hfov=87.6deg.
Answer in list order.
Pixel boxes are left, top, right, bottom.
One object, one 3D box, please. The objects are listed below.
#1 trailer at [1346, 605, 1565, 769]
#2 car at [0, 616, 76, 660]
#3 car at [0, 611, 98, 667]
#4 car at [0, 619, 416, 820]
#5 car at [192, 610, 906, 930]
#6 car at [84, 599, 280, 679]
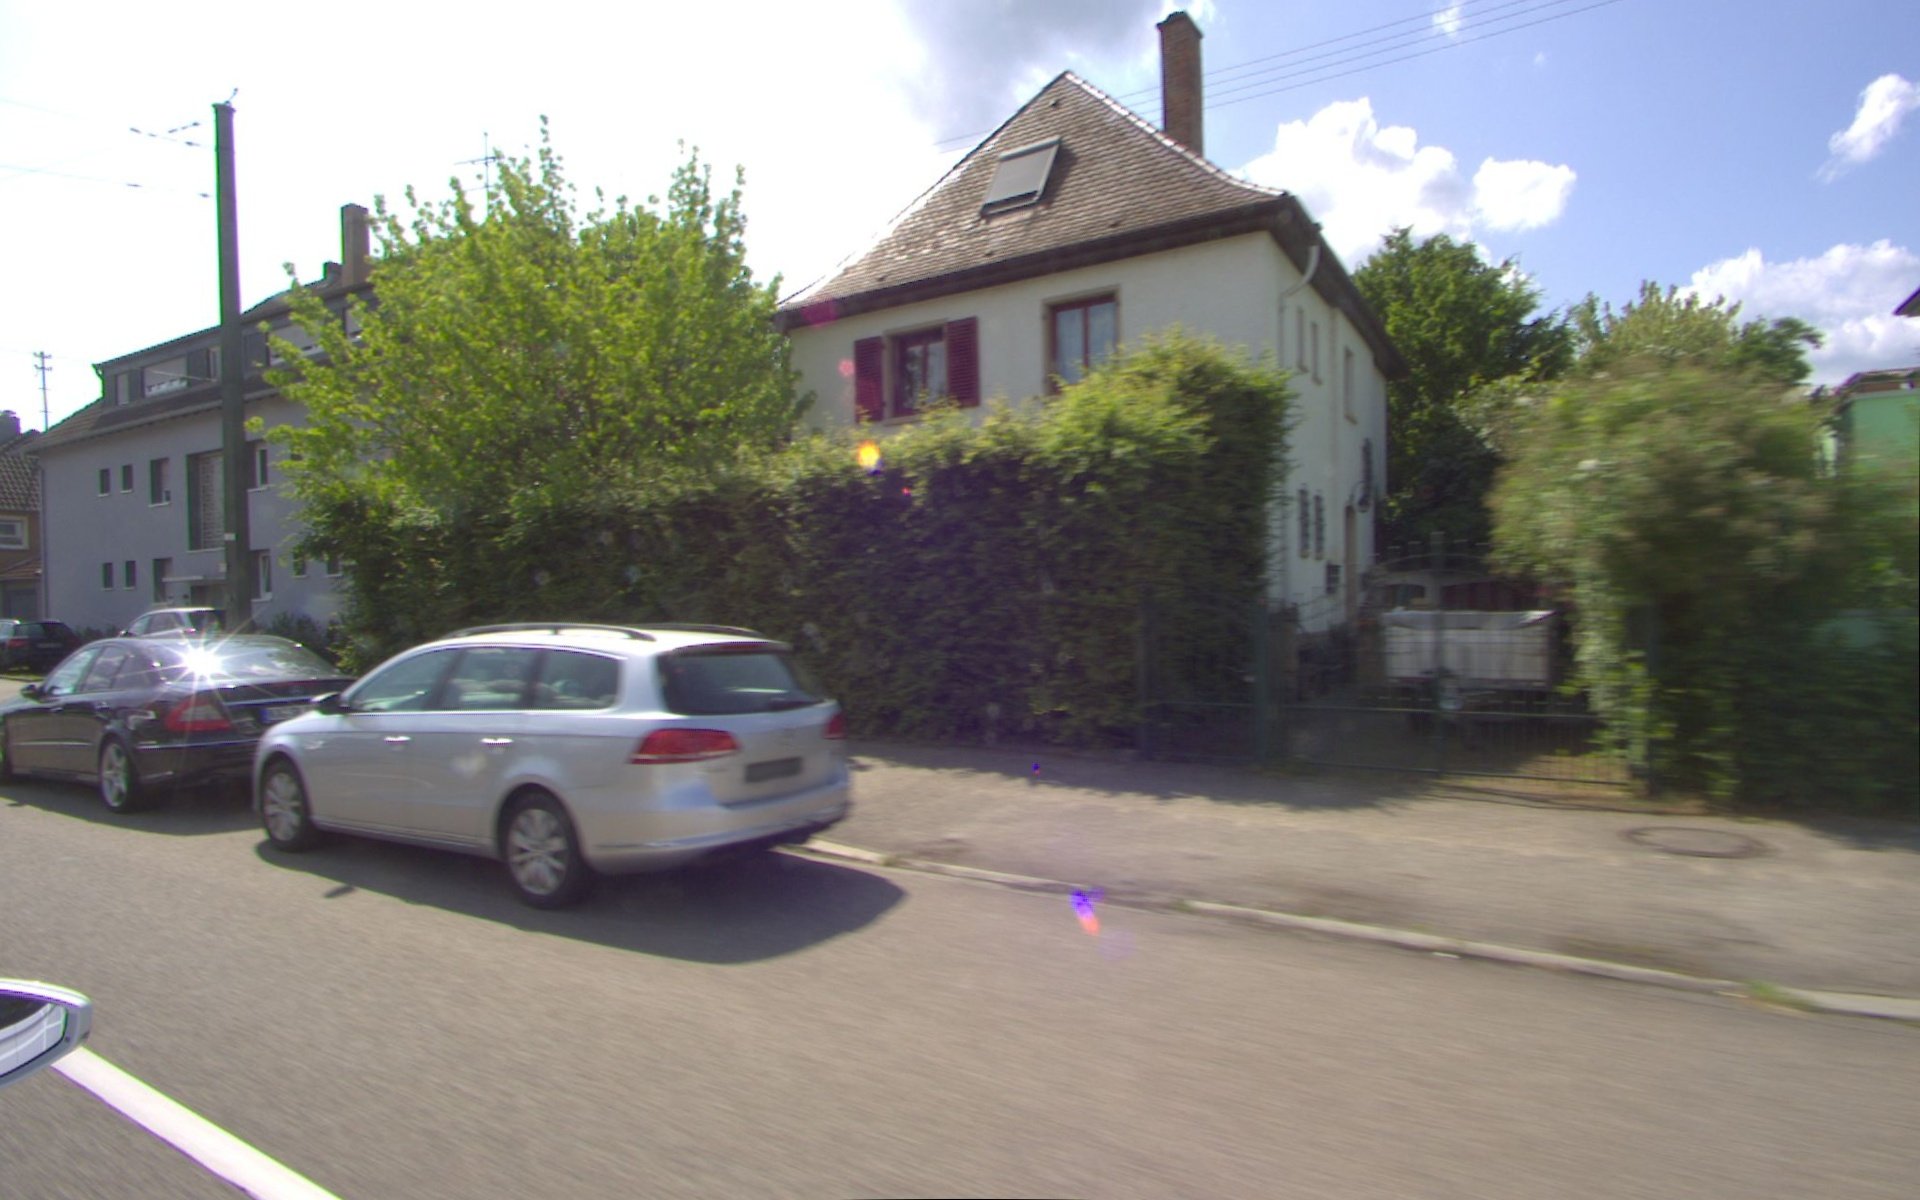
[{"bbox_3d":[5.439,0.753,10.703,1.650,1.344,4.237,0,0,33],"label":"trailer"},{"bbox_3d":[-30.697,1.211,31.748,1.700,1.398,3.647,-1,-1,28],"label":"car"},{"bbox_3d":[-26.269,1.053,28.004,4.785,1.442,1.796,-1,0,30],"label":"car"},{"bbox_3d":[-7.505,0.930,9.499,4.984,1.462,1.897,0,-2,32],"label":"car"},{"bbox_3d":[-2.923,0.865,6.723,4.933,1.474,1.887,-1,-2,31],"label":"car"},{"bbox_3d":[-17.856,0.864,22.944,4.695,1.669,1.755,-1,0,28],"label":"car"}]
